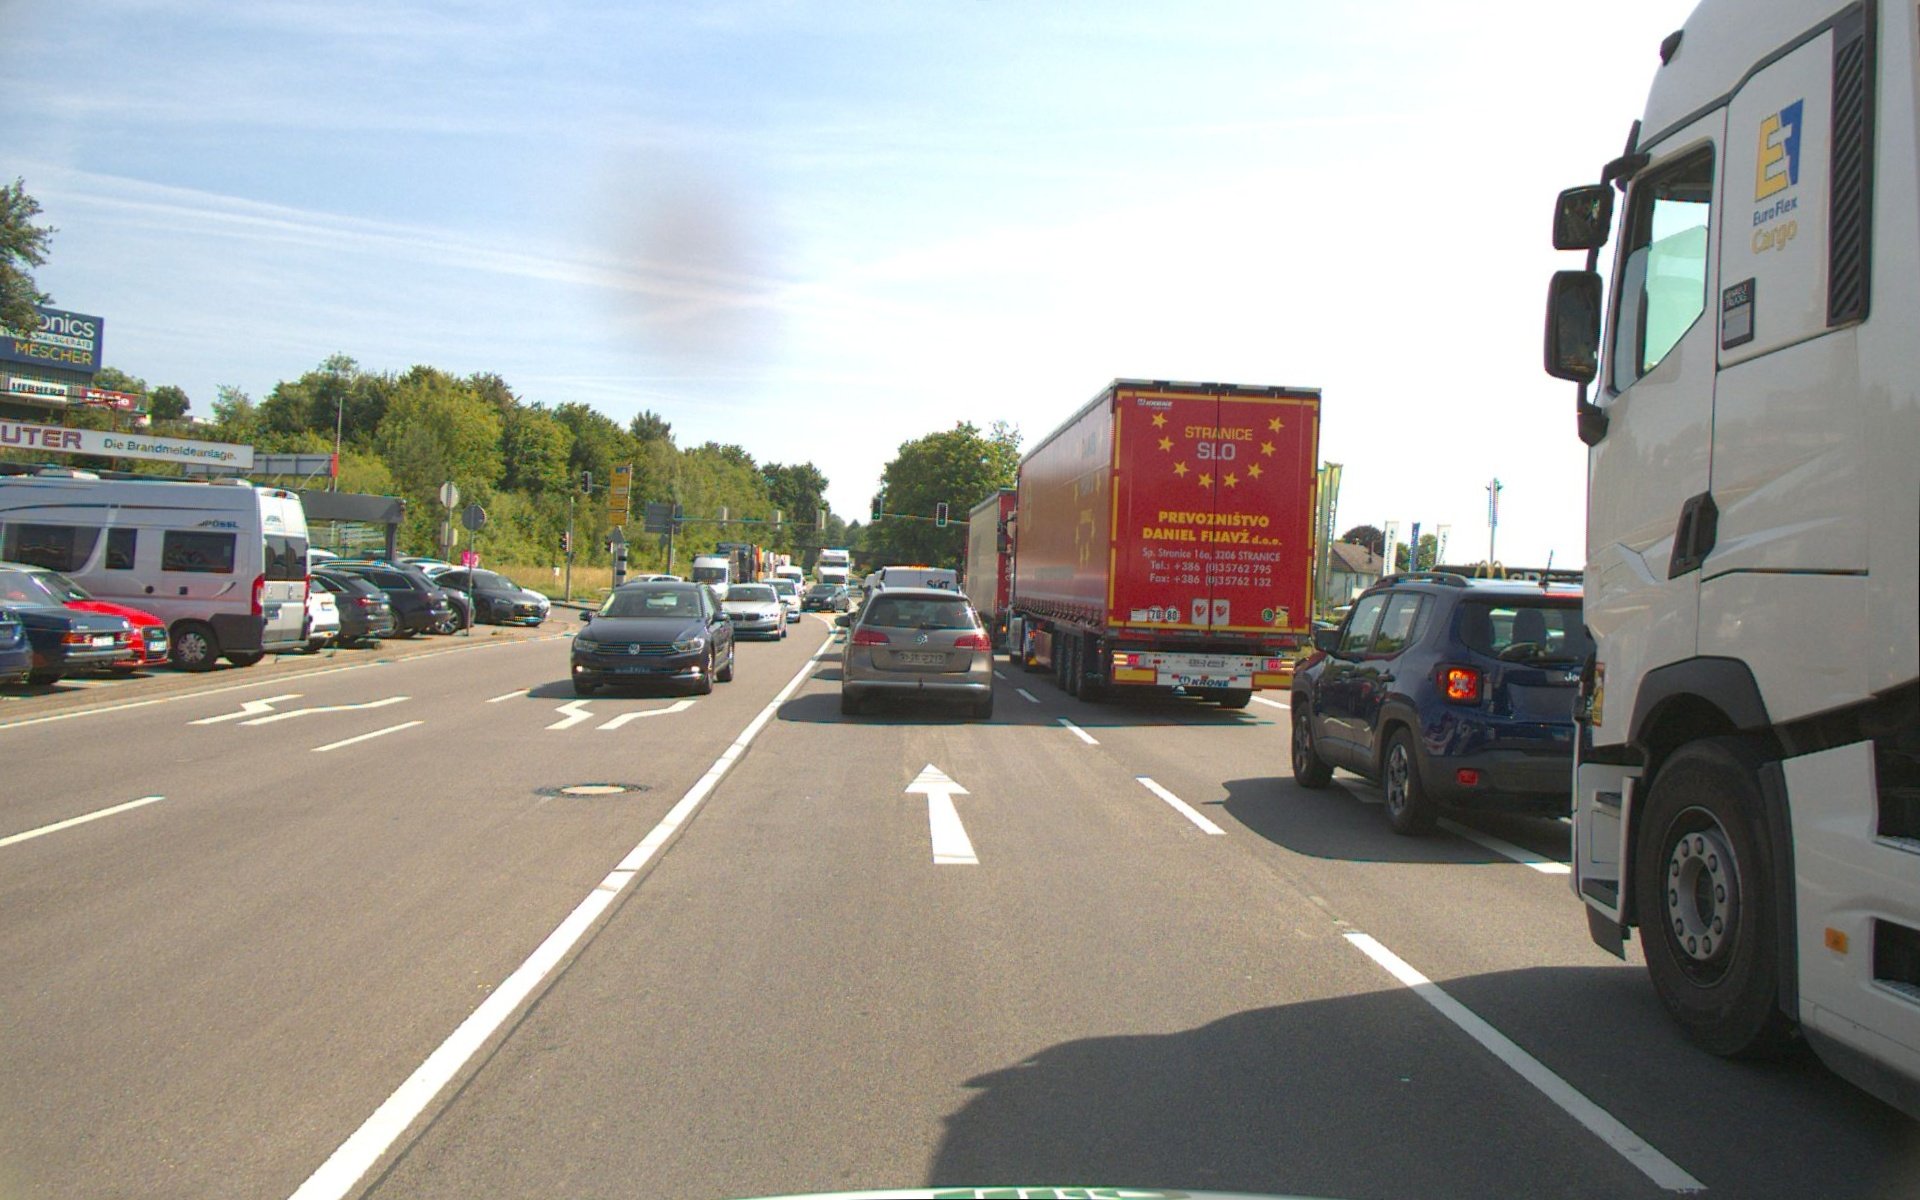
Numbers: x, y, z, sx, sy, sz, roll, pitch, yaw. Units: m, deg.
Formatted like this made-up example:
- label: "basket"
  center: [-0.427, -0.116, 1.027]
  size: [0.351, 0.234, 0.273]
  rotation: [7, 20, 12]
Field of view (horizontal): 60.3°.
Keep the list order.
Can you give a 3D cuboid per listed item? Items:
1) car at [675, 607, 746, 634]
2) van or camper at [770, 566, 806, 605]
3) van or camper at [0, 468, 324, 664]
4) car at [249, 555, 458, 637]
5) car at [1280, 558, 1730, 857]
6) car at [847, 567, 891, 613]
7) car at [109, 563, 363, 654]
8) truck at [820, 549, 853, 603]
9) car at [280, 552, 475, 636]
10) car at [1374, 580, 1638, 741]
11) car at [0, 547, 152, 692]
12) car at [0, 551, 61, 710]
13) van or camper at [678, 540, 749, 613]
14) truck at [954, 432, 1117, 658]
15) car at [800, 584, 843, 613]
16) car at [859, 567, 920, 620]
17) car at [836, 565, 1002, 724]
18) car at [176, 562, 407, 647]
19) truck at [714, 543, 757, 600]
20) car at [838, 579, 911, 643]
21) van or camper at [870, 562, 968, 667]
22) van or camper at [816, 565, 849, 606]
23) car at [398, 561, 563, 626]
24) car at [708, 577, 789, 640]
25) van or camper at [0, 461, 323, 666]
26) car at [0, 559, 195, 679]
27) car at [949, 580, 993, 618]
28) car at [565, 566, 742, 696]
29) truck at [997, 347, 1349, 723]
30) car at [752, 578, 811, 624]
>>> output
- label: "car"
  center: [-14.517, 1.189, 96.390]
  size: [1.684, 1.473, 4.062]
  rotation: [2, 0, 38]
- label: "van or camper"
  center: [-11.924, -1.016, 114.955]
  size: [2.130, 2.595, 4.168]
  rotation: [3, 0, -3]
- label: "van or camper"
  center: [-13.963, -0.594, 27.493]
  size: [5.774, 2.923, 2.289]
  rotation: [3, 1, -3]
- label: "car"
  center: [-12.816, -0.084, 35.139]
  size: [3.741, 1.566, 1.841]
  rotation: [2, 0, -4]
- label: "car"
  center: [3.602, 0.623, 11.746]
  size: [1.782, 1.714, 3.999]
  rotation: [2, 0, -1]
- label: "car"
  center: [-4.126, -0.434, 75.335]
  size: [1.691, 1.942, 3.312]
  rotation: [3, -1, 0]
- label: "car"
  center: [-12.984, 0.143, 29.856]
  size: [3.741, 1.473, 1.841]
  rotation: [2, 0, -4]
- label: "truck"
  center: [-10.422, -2.023, 140.332]
  size: [2.502, 4.382, 7.591]
  rotation: [1, 0, -3]
- label: "car"
  center: [-13.117, -0.135, 37.419]
  size: [3.741, 1.704, 1.841]
  rotation: [2, 0, -4]
- label: "car"
  center: [6.487, 0.655, 20.128]
  size: [1.782, 1.714, 3.999]
  rotation: [2, 0, -1]
- label: "car"
  center: [-11.883, 0.098, 19.599]
  size: [3.636, 1.510, 1.706]
  rotation: [6, 0, -4]
- label: "car"
  center: [-11.574, 0.202, 16.997]
  size: [3.635, 1.582, 1.706]
  rotation: [4, 1, -4]
- label: "van or camper"
  center: [-11.631, -1.078, 78.412]
  size: [2.163, 3.107, 5.902]
  rotation: [6, 0, 0]
- label: "truck"
  center: [1.801, -1.396, 48.427]
  size: [3.001, 5.311, 16.998]
  rotation: [3, 0, -3]
- label: "car"
  center: [-7.010, -0.072, 84.100]
  size: [1.631, 1.434, 3.928]
  rotation: [1, 0, 3]
- label: "car"
  center: [-2.185, -0.188, 52.162]
  size: [1.691, 1.545, 3.312]
  rotation: [3, -1, 0]
- label: "car"
  center: [-0.427, 0.485, 19.656]
  size: [1.753, 1.667, 3.504]
  rotation: [2, 0, 0]
- label: "car"
  center: [-12.987, 0.080, 32.313]
  size: [3.741, 1.473, 1.841]
  rotation: [2, 0, -4]
- label: "truck"
  center: [-15.721, -1.990, 116.345]
  size: [2.759, 3.852, 6.980]
  rotation: [1, 0, -6]
- label: "car"
  center: [-2.228, 0.294, 43.825]
  size: [1.692, 1.545, 3.312]
  rotation: [3, -1, 0]
- label: "van or camper"
  center: [-0.889, 0.260, 33.836]
  size: [1.816, 1.939, 3.782]
  rotation: [3, 0, -3]
- label: "van or camper"
  center: [-9.707, -1.087, 126.314]
  size: [2.180, 2.890, 5.707]
  rotation: [3, -1, -3]
- label: "car"
  center: [-14.035, -0.202, 48.349]
  size: [4.430, 1.722, 2.127]
  rotation: [2, 0, 30]
- label: "car"
  center: [-5.675, 0.194, 44.785]
  size: [1.872, 1.547, 4.777]
  rotation: [2, 0, -4]
- label: "van or camper"
  center: [-12.647, -0.563, 24.877]
  size: [5.139, 2.779, 2.210]
  rotation: [3, 0, -2]
- label: "car"
  center: [-12.523, 0.208, 22.299]
  size: [3.521, 1.506, 1.812]
  rotation: [2, 0, -2]
- label: "car"
  center: [0.468, -0.028, 72.873]
  size: [1.693, 1.545, 3.310]
  rotation: [3, -1, -3]
- label: "car"
  center: [-4.167, 0.377, 23.119]
  size: [1.770, 1.587, 4.385]
  rotation: [2, 0, -2]
- label: "truck"
  center: [2.743, -0.829, 28.036]
  size: [2.898, 4.344, 16.575]
  rotation: [3, 0, -3]
- label: "car"
  center: [-6.822, 0.013, 63.563]
  size: [1.871, 1.692, 4.179]
  rotation: [1, 0, -1]
